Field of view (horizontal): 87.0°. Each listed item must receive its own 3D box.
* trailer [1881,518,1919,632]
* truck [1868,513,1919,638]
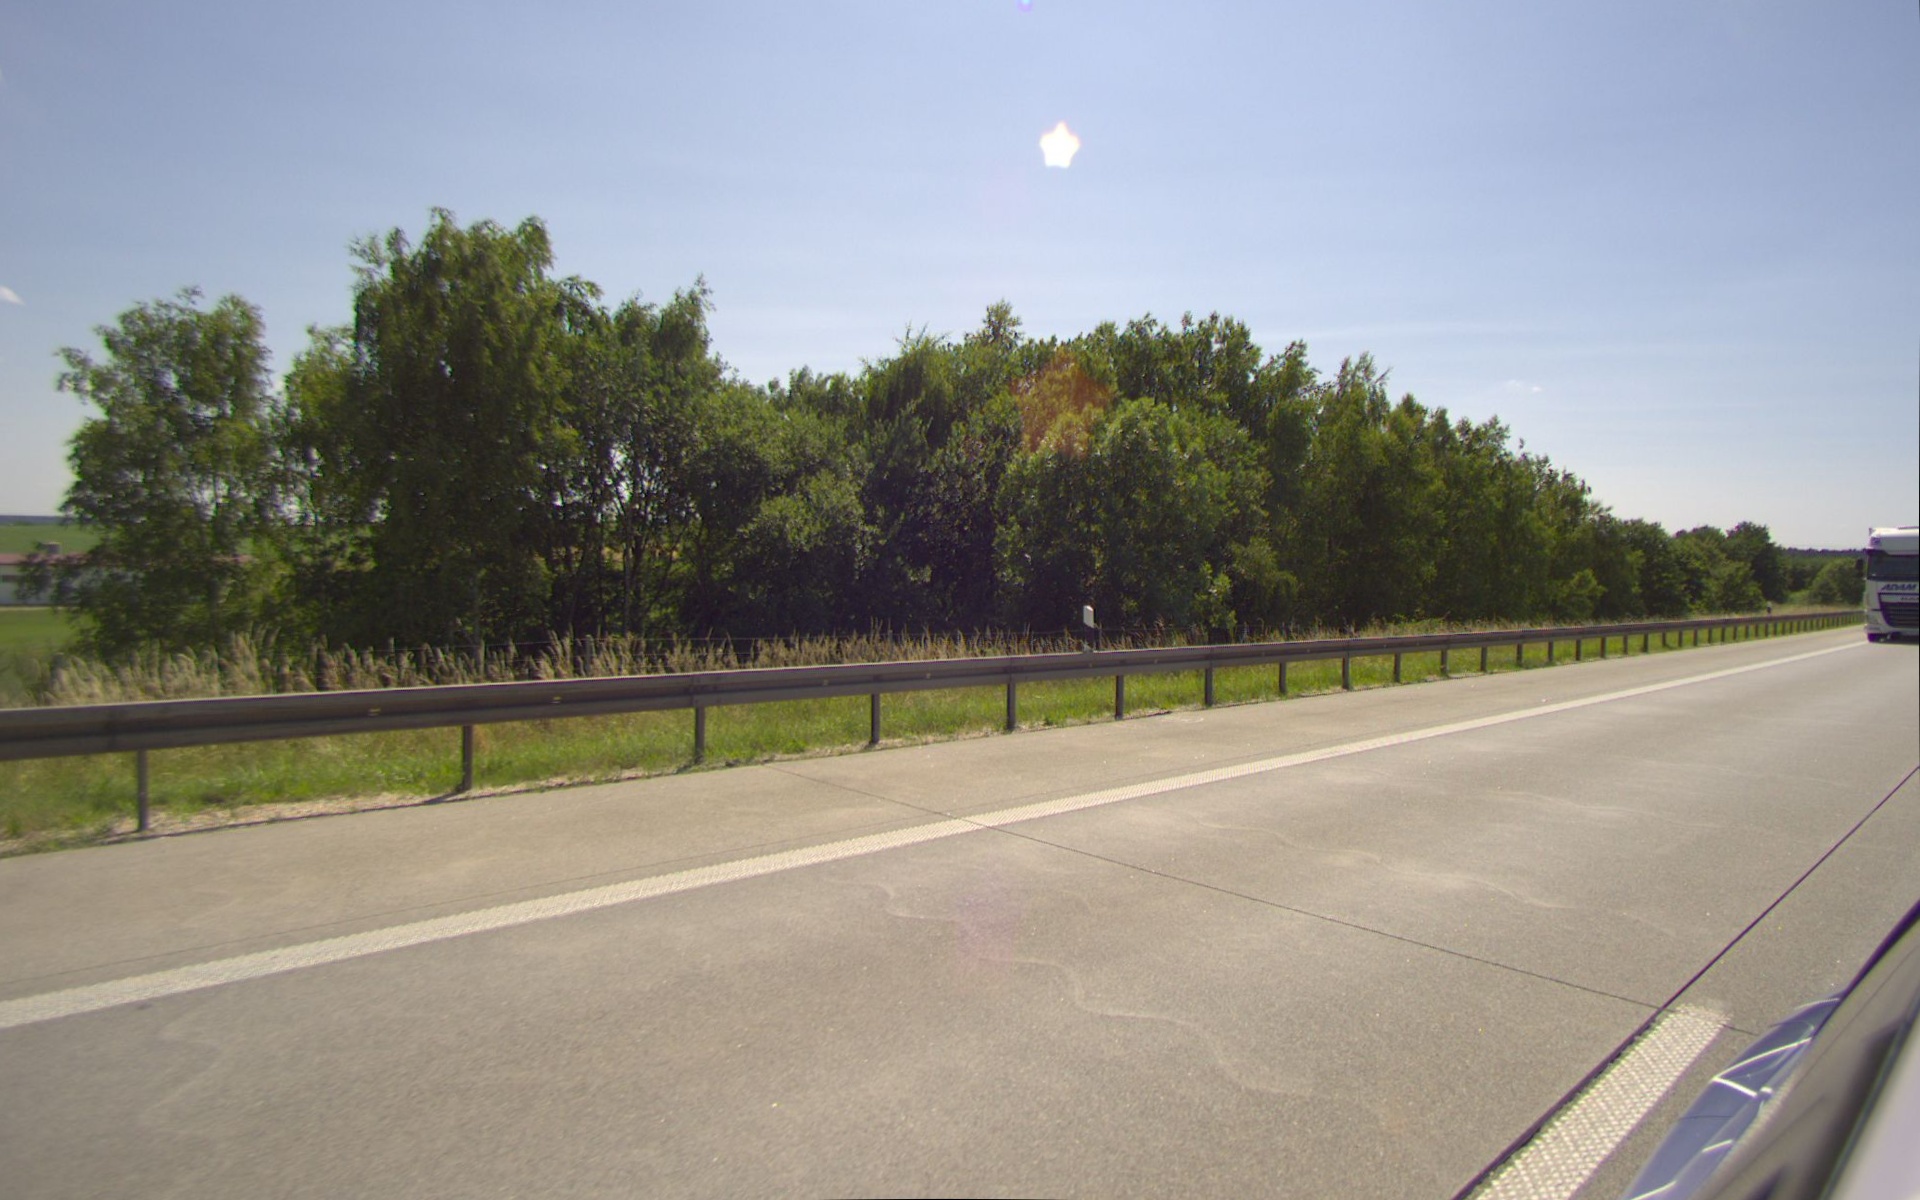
[{"bbox_3d":[39.234,-0.909,40.283,12.499,4.093,2.856,0,1,-43],"label":"trailer"},{"bbox_3d":[33.947,-0.827,35.341,5.700,4.139,2.815,0,1,-43],"label":"truck"}]
